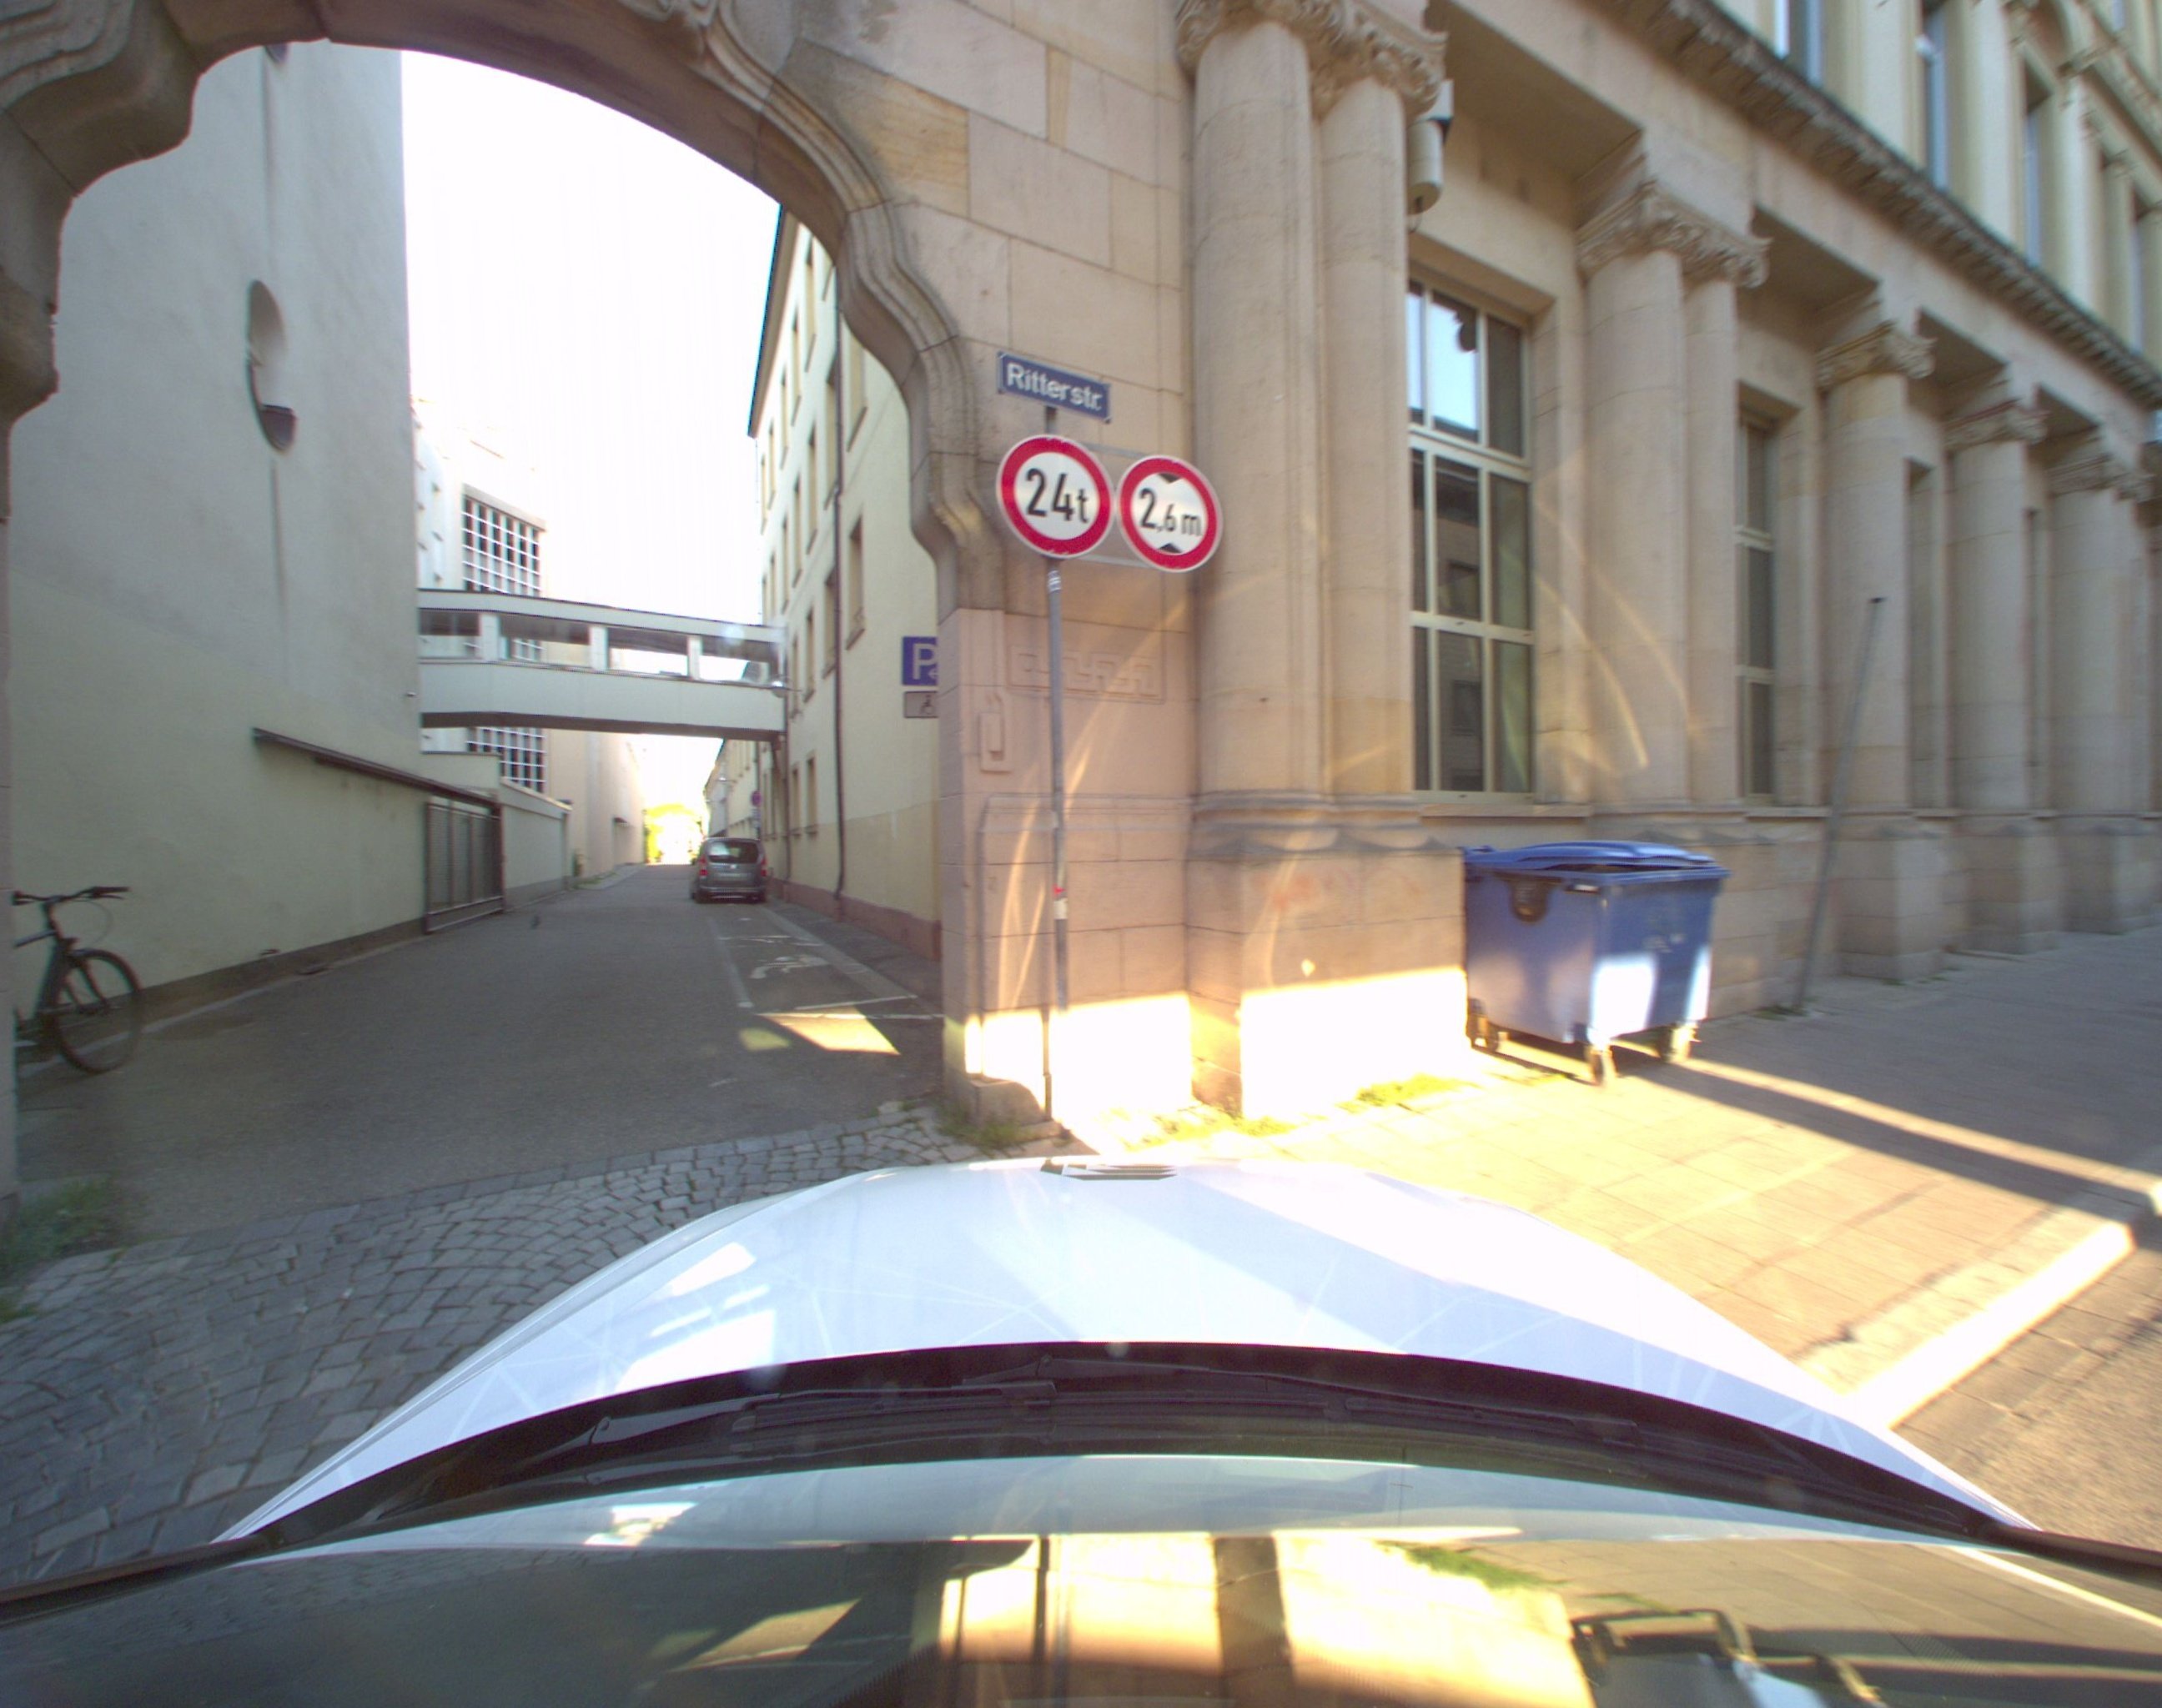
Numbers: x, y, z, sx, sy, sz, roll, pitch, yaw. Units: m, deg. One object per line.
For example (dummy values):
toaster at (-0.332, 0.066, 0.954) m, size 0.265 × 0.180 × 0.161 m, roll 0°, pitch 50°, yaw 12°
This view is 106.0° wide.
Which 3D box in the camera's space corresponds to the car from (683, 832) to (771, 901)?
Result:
car at (-10.208, 0.384, 23.317) m, size 1.866 × 1.756 × 4.123 m, roll 2°, pitch -2°, yaw -29°

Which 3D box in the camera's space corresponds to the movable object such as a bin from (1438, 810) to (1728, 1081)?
movable object such as a bin at (3.115, 0.471, 5.136) m, size 1.188 × 1.474 × 1.069 m, roll -1°, pitch 2°, yaw -23°

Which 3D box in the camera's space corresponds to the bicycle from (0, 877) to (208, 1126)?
bicycle at (-5.498, 0.691, 4.316) m, size 0.598 × 1.079 × 1.740 m, roll -1°, pitch 0°, yaw -27°
